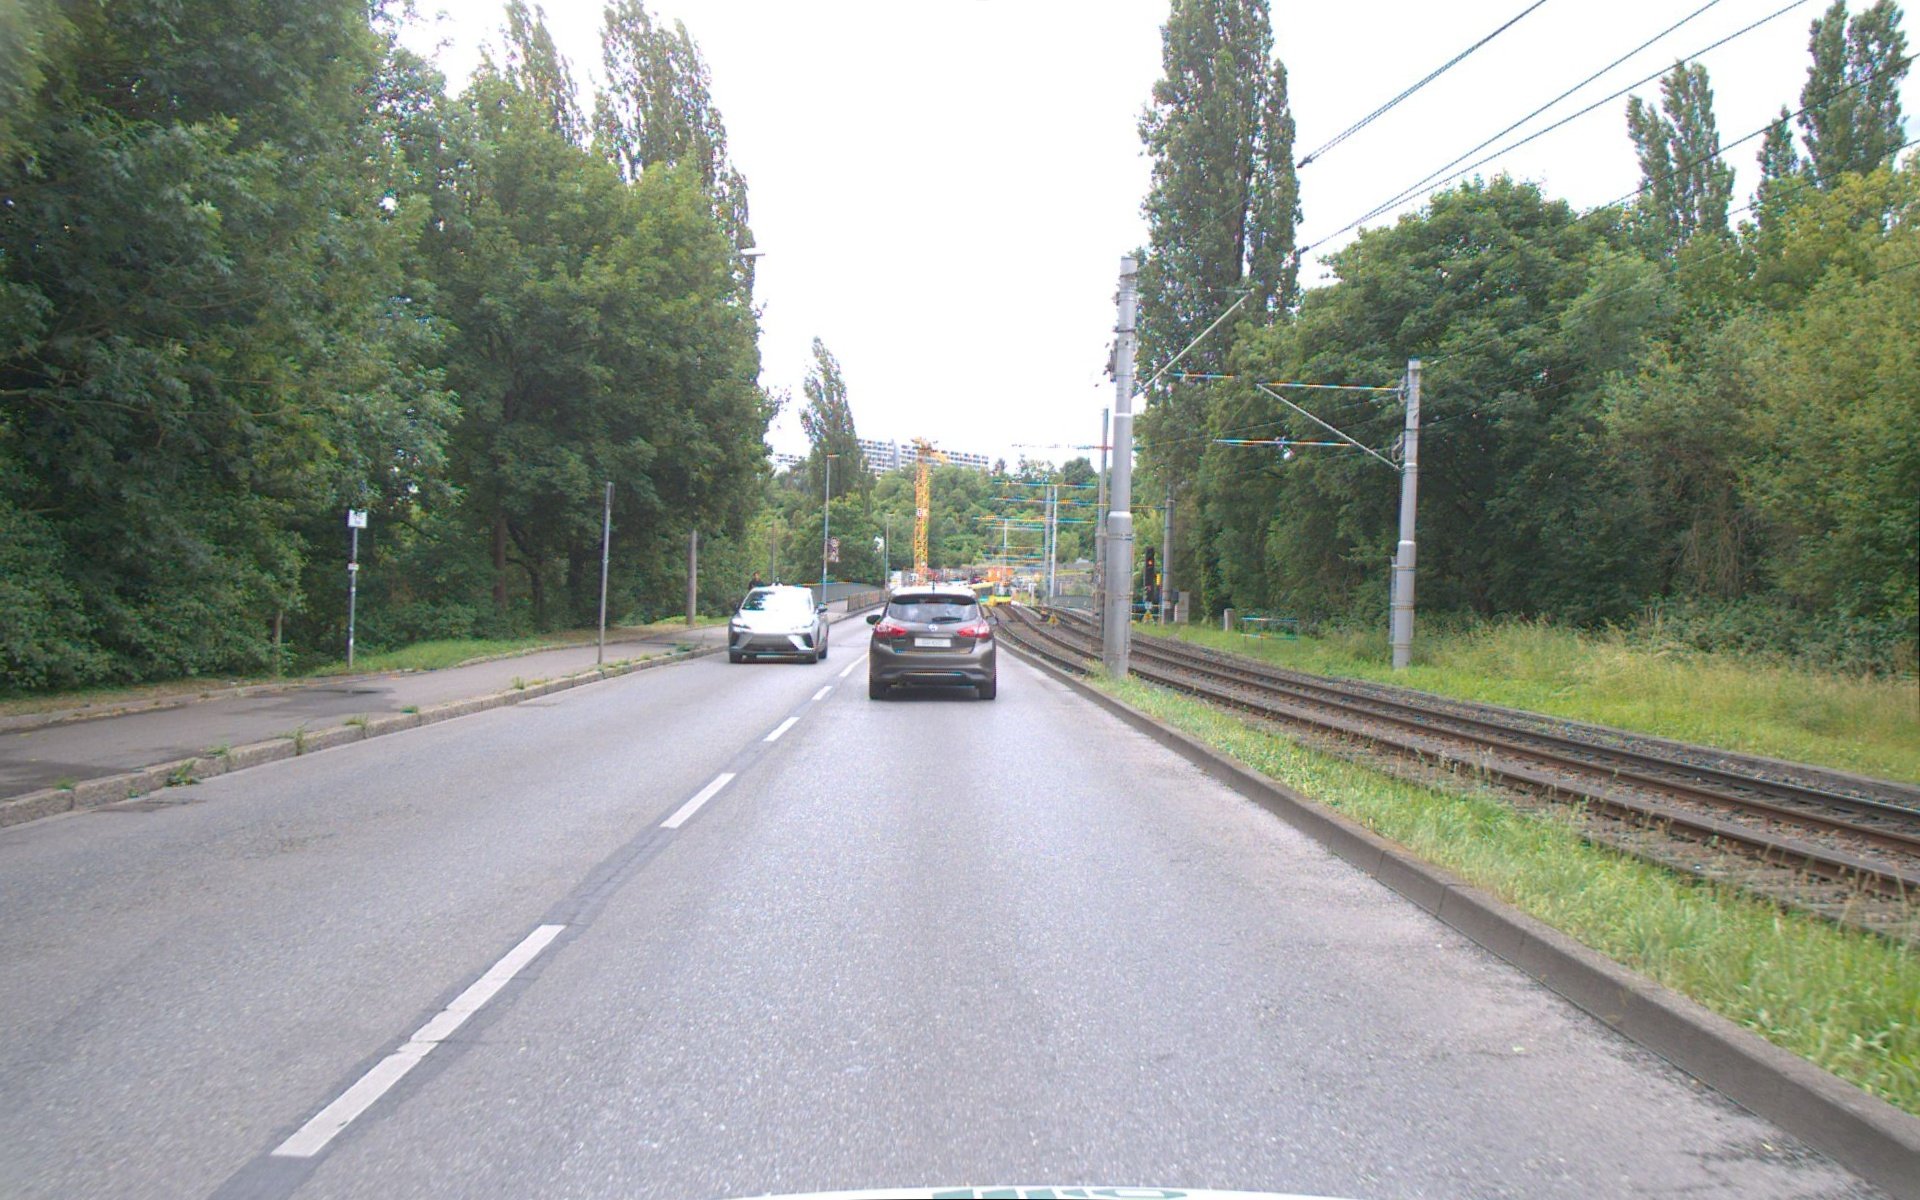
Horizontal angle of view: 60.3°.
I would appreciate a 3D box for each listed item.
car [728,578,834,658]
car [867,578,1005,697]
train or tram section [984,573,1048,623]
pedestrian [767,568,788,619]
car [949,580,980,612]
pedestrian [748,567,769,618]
[{"bbox_3d":[-3.632,0.325,34.208,1.757,1.518,4.180,-1,1,-1],"label":"car"},{"bbox_3d":[-0.411,0.477,23.714,1.793,1.536,3.998,1,0,-3],"label":"car"},{"bbox_3d":[6.350,-0.067,194.251,2.972,5.273,23.004,3,-2,-9],"label":"train or tram section"},{"bbox_3d":[-6.658,-0.228,60.294,0.540,1.795,0.858,5,0,-1],"label":"pedestrian"},{"bbox_3d":[0.257,-0.238,91.164,1.645,1.634,4.309,2,1,0],"label":"car"},{"bbox_3d":[-7.335,-0.277,60.160,0.575,1.834,0.822,3,0,-1],"label":"pedestrian"}]
